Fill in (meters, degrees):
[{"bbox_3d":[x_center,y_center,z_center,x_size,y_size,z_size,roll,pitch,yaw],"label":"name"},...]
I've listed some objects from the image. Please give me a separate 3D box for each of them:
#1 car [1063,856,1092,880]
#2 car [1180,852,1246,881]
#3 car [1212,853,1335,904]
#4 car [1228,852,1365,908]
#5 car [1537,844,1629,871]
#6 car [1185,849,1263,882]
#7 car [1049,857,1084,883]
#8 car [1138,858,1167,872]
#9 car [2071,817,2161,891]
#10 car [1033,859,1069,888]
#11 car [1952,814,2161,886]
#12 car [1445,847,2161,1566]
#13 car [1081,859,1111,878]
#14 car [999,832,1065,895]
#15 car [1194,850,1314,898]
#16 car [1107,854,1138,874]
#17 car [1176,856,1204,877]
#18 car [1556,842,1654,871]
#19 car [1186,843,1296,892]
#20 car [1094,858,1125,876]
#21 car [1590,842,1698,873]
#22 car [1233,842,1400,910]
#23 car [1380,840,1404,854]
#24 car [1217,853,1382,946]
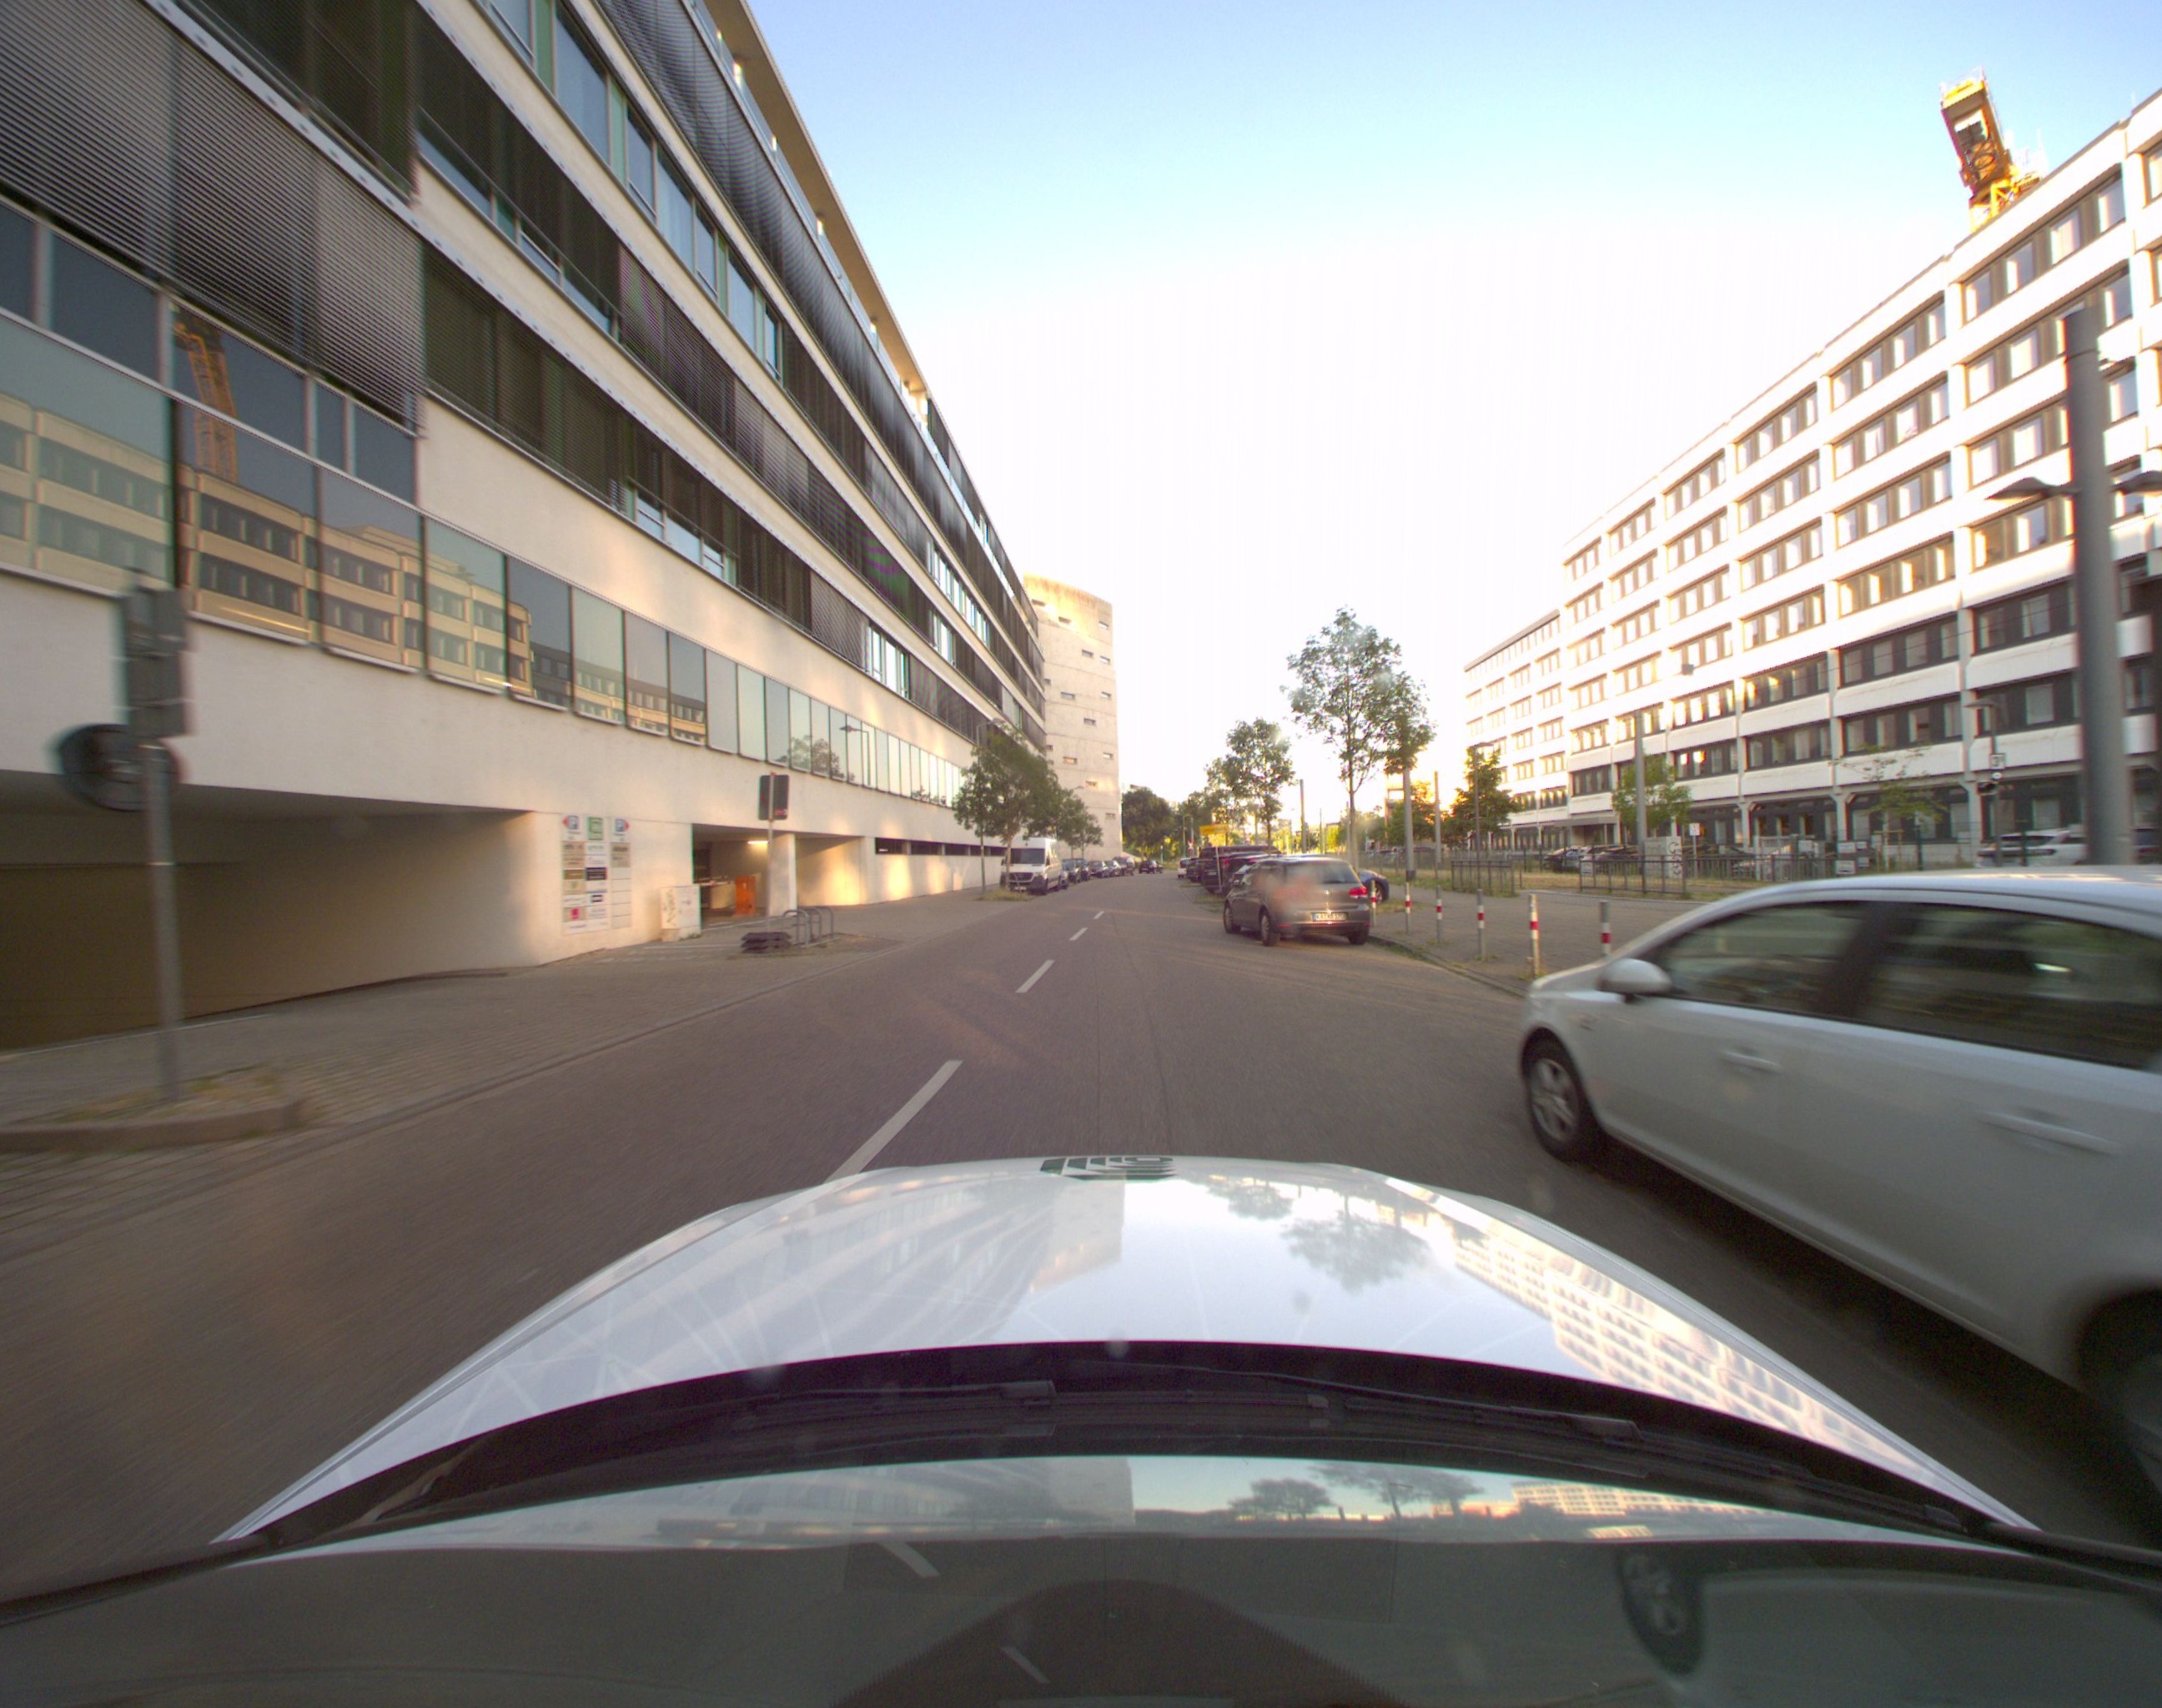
[{"bbox_3d":[-0.197,0.959,58.609,1.748,1.653,3.953,0,0,4],"label":"car"},{"bbox_3d":[8.193,0.735,50.601,3.788,1.725,1.748,0,0,-28],"label":"car"},{"bbox_3d":[6.504,0.788,27.386,4.013,1.595,1.719,1,-1,-31],"label":"car"},{"bbox_3d":[6.502,0.744,24.489,4.015,1.465,1.718,-2,-1,-34],"label":"car"},{"bbox_3d":[27.024,0.158,43.944,3.970,1.398,1.593,0,0,3],"label":"car"},{"bbox_3d":[8.397,0.681,47.867,3.991,1.640,1.958,-3,-1,-23],"label":"car"},{"bbox_3d":[-0.899,0.987,52.485,1.747,1.561,4.049,0,0,5],"label":"car"},{"bbox_3d":[7.655,1.189,87.360,1.927,1.382,4.422,0,0,21],"label":"car"},{"bbox_3d":[24.468,-0.112,17.514,3.967,1.487,1.678,-4,-1,5],"label":"car"},{"bbox_3d":[-1.566,1.017,43.754,1.750,1.439,3.901,0,0,0],"label":"car"},{"bbox_3d":[25.045,-0.119,20.564,3.970,1.513,1.826,-4,0,3],"label":"car"},{"bbox_3d":[3.104,0.725,3.100,1.669,1.452,4.189,-2,0,2],"label":"car"},{"bbox_3d":[1.306,1.177,67.008,1.711,1.457,4.285,0,0,11],"label":"car"},{"bbox_3d":[-2.123,0.383,37.510,1.949,2.617,6.903,0,0,5],"label":"car"},{"bbox_3d":[6.898,0.738,32.357,4.616,1.749,1.854,0,0,-29],"label":"car"},{"bbox_3d":[3.993,0.944,77.536,1.742,1.798,4.486,0,0,20],"label":"car"},{"bbox_3d":[8.323,0.905,62.032,1.710,1.467,3.565,-3,0,13],"label":"car"},{"bbox_3d":[26.770,0.122,41.658,3.970,1.398,1.593,0,0,3],"label":"car"},{"bbox_3d":[6.984,0.546,35.413,4.616,2.035,1.854,0,0,-29],"label":"car"},{"bbox_3d":[2.558,1.120,72.464,1.709,1.457,4.713,0,0,15],"label":"car"},{"bbox_3d":[26.416,0.167,38.281,3.970,1.398,1.593,0,0,3],"label":"car"},{"bbox_3d":[6.191,0.548,21.348,4.013,1.520,1.909,-2,-1,-31],"label":"car"},{"bbox_3d":[61.404,-1.432,160.733,4.115,2.584,1.713,-2,-1,26],"label":"car"},{"bbox_3d":[3.797,0.749,14.886,1.728,1.466,3.994,0,-1,-4],"label":"car"}]
